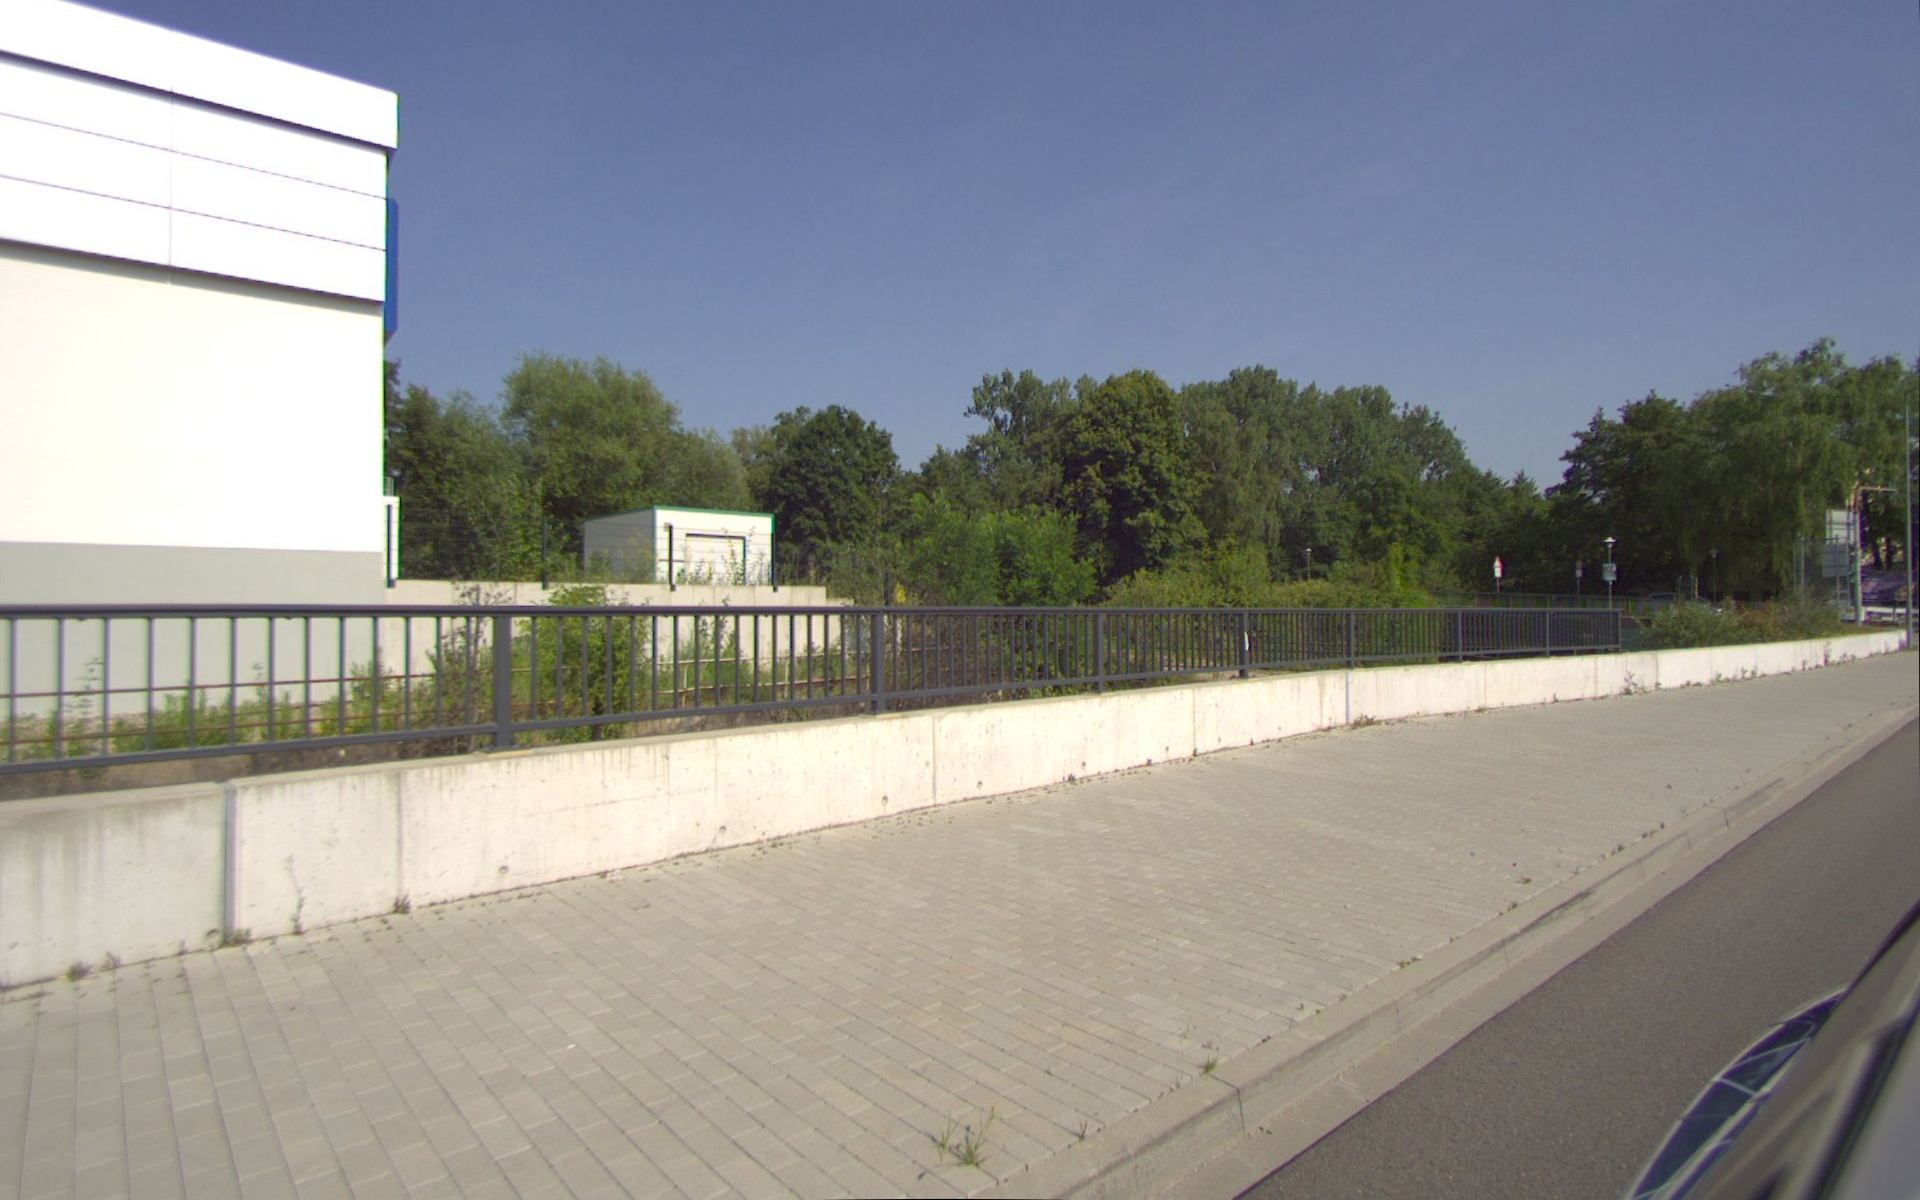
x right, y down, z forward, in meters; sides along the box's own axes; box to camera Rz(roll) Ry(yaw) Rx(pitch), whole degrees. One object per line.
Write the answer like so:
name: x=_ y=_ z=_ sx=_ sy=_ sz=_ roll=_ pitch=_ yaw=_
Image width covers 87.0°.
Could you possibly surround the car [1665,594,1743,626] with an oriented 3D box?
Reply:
car: x=39.926 y=0.518 z=54.401 sx=1.640 sy=1.537 sz=4.074 roll=1 pitch=2 yaw=9
